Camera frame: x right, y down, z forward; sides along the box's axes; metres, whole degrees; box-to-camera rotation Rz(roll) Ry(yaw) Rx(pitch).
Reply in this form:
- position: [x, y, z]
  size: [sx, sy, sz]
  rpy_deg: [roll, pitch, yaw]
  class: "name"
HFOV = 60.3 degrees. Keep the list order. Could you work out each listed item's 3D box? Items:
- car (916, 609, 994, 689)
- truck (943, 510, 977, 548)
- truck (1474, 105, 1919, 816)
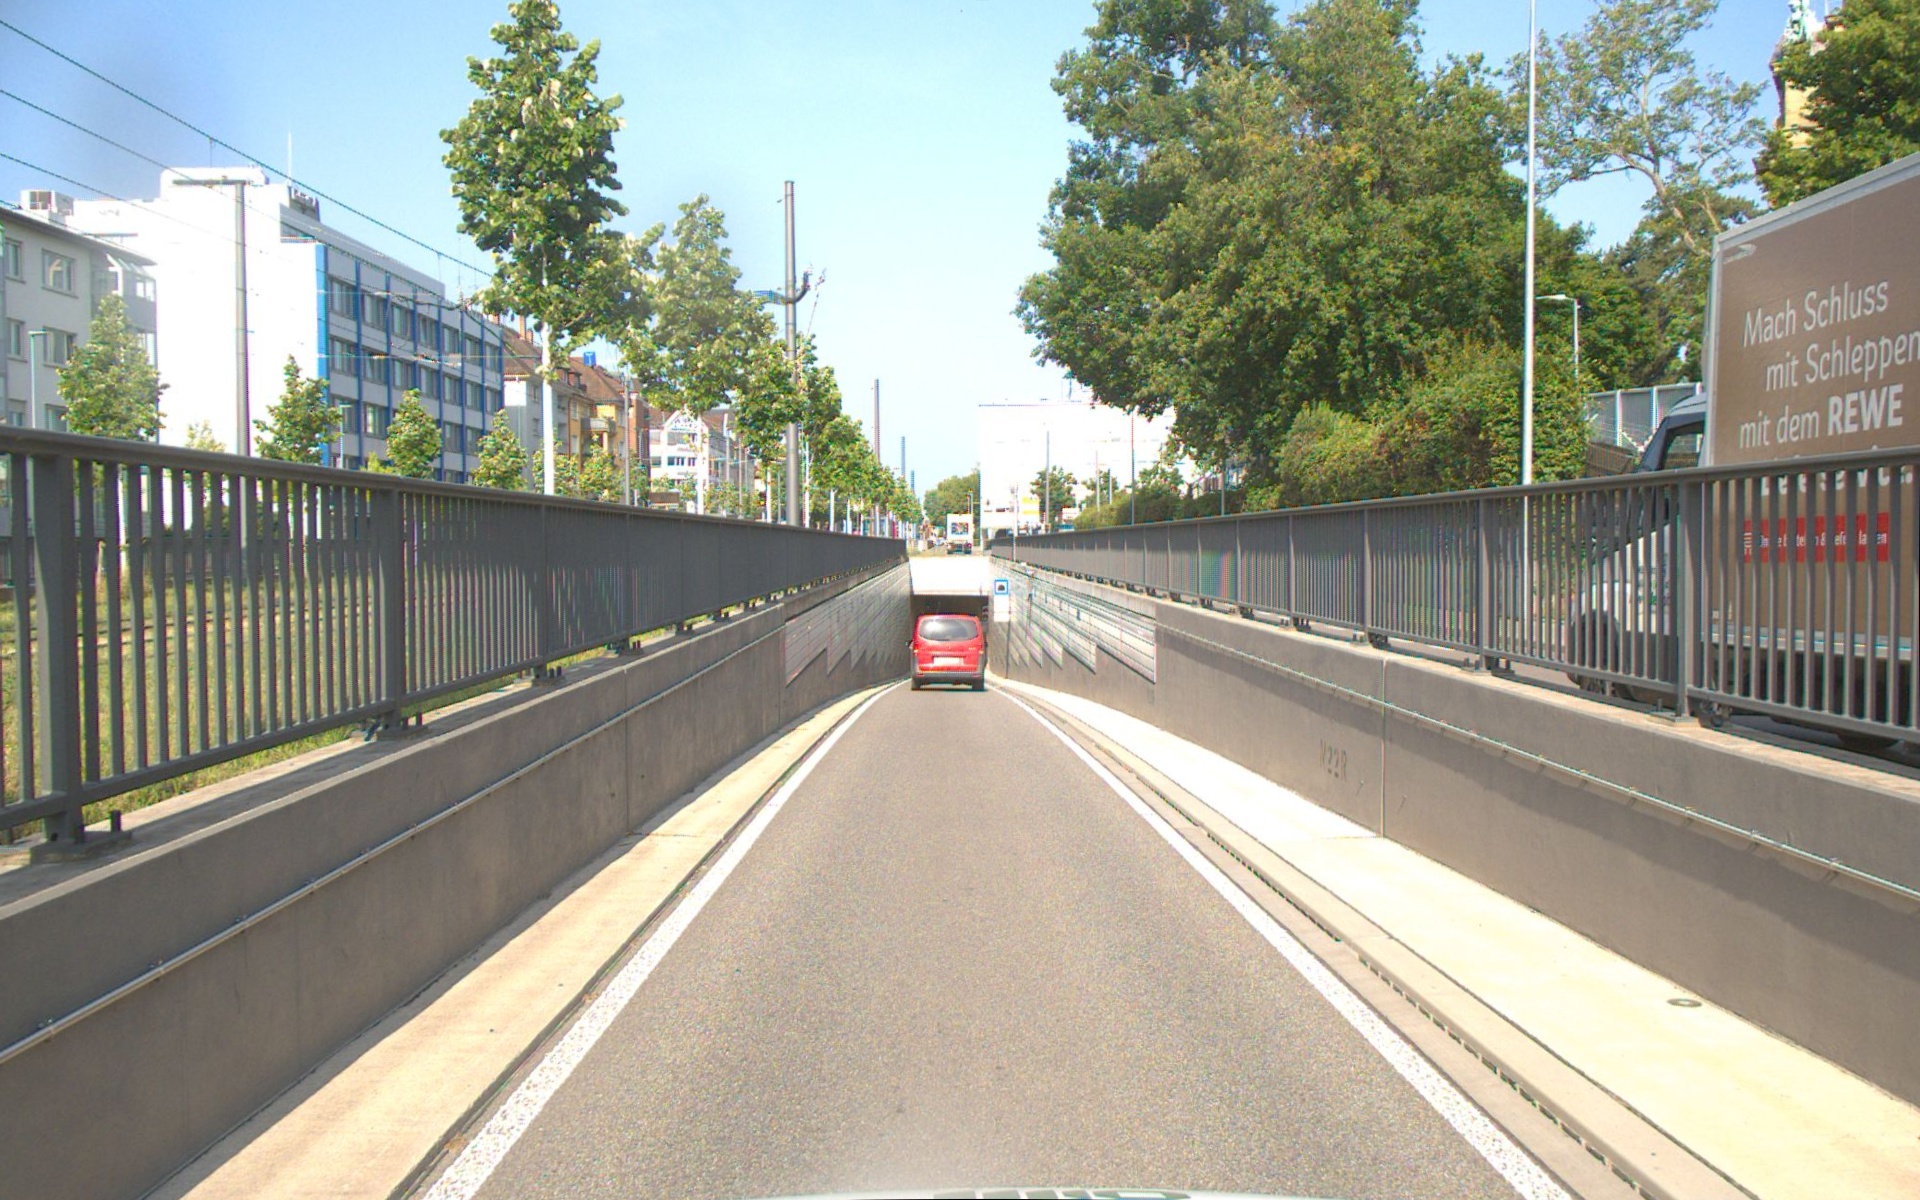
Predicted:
- position: [-0.148, 1.209, 42.551]
  size: [1.862, 1.892, 3.999]
  rpy_deg: [2, 0, -1]
  class: "car"
- position: [-0.054, -7.200, 169.214]
  size: [3.322, 3.791, 10.451]
  rpy_deg: [-1, 2, -1]
  class: "truck"
- position: [5.366, -0.630, 8.941]
  size: [2.452, 3.114, 7.819]
  rpy_deg: [2, 1, -2]
  class: "truck"
